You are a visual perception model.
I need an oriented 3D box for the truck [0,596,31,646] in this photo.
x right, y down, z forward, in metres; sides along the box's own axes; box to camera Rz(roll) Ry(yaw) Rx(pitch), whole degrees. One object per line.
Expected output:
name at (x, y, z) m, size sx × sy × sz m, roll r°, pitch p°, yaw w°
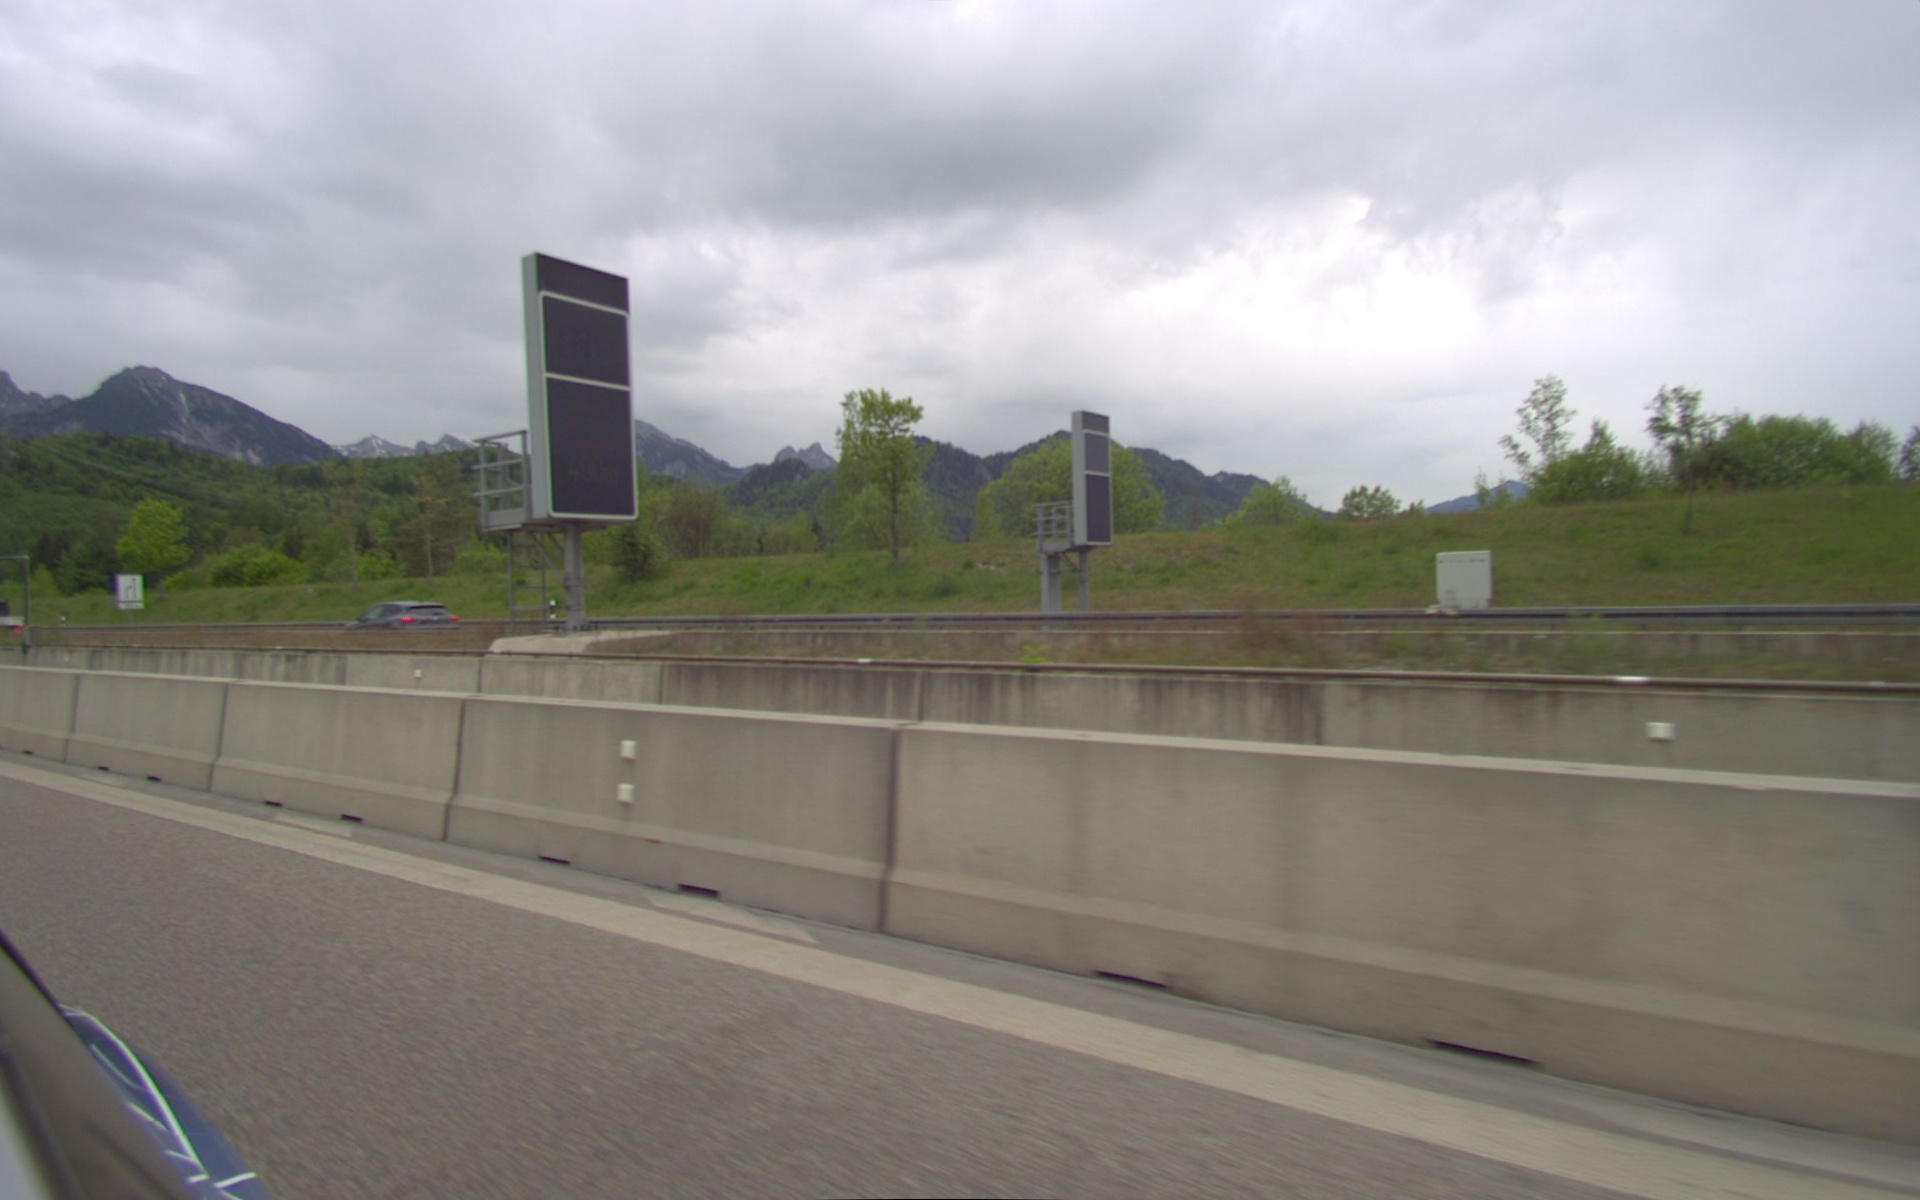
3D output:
truck at (-51.167, 1.148, 52.933) m, size 5.970 × 2.498 × 2.338 m, roll -1°, pitch 1°, yaw 33°

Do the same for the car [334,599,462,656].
car at (-16.190, 0.783, 29.123) m, size 3.826 × 1.512 × 1.595 m, roll -1°, pitch 0°, yaw 33°
